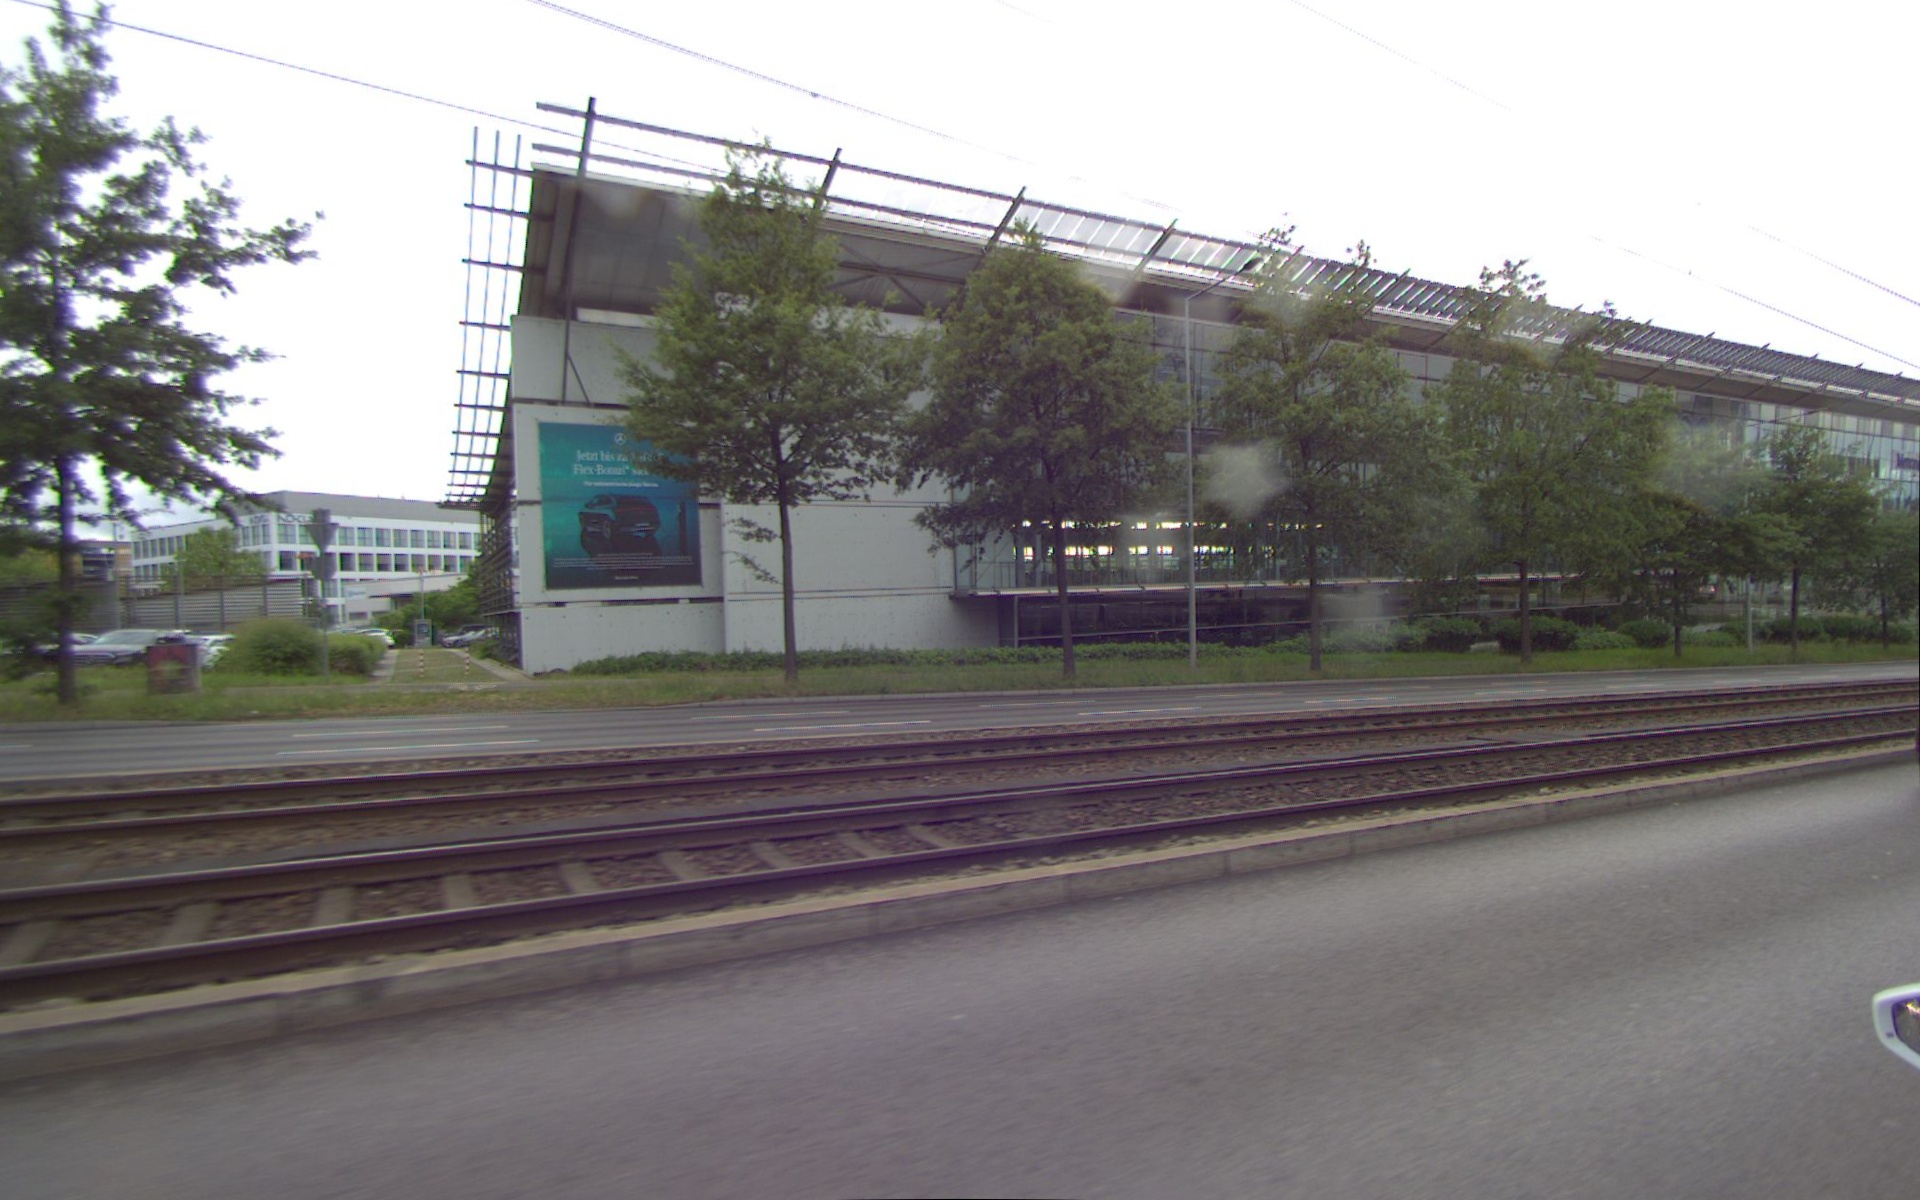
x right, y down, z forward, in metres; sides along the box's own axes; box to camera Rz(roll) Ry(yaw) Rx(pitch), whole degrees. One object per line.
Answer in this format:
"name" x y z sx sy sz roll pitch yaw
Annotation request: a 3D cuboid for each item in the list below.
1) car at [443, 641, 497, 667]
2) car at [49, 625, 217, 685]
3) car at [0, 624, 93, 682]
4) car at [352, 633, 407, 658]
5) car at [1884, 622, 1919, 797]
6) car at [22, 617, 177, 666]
"car" -41.086 4.484 84.166 3.951 2.040 1.985 2 0 -29
"car" -23.398 1.512 28.626 1.770 1.409 3.995 2 0 -7
"car" -26.093 1.428 27.259 1.768 1.409 3.998 2 0 -3
"car" -49.460 3.881 85.673 3.951 2.040 1.985 2 0 -29
"car" 10.453 0.983 9.135 4.573 1.483 1.755 1 1 -31
"car" -28.254 1.317 33.167 1.768 1.409 3.998 2 0 -3
